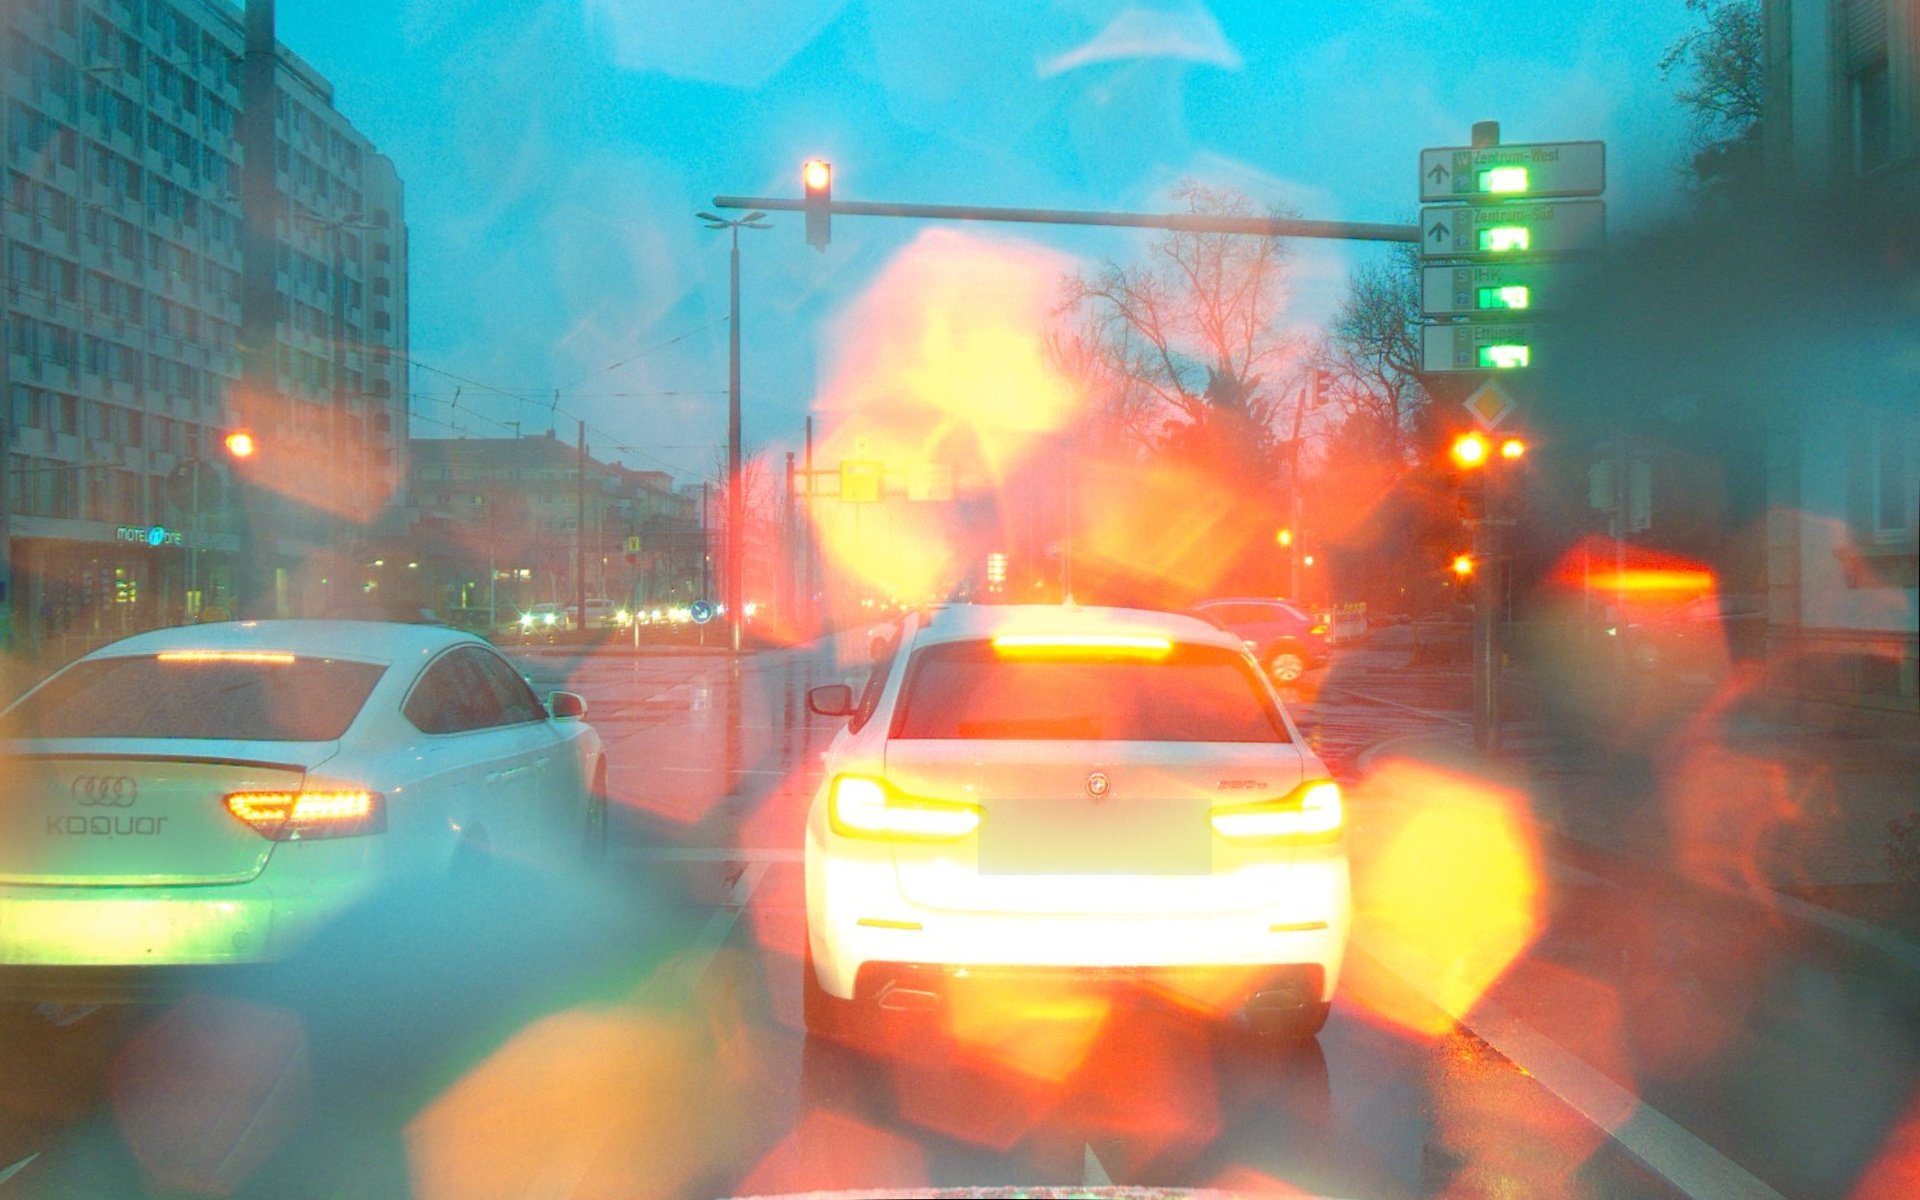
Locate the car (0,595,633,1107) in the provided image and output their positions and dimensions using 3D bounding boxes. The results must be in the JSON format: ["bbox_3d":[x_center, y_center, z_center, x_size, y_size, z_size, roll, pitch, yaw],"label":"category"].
[{"bbox_3d":[-2.707,0.727,7.007,1.954,1.481,4.366,0,0,-3],"label":"car"}]

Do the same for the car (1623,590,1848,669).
[{"bbox_3d":[15.252,0.564,32.728,3.906,1.426,1.757,1,-1,23],"label":"car"}]

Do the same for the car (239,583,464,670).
[{"bbox_3d":[-11.421,0.502,31.238,3.614,1.504,1.627,1,-1,-3],"label":"car"}]

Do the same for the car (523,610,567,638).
[{"bbox_3d":[-24.141,1.382,96.322,1.641,1.534,3.695,1,-1,-1],"label":"car"}]

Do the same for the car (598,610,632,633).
[{"bbox_3d":[-24.347,1.530,116.766,1.641,1.534,3.695,1,-1,-1],"label":"car"}]

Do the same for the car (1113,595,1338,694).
[{"bbox_3d":[4.826,0.797,30.126,3.902,1.651,1.721,1,-1,10],"label":"car"}]

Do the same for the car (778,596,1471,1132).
[{"bbox_3d":[0.375,0.736,6.836,1.954,1.481,4.366,0,0,-3],"label":"car"}]

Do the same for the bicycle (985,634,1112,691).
[{"bbox_3d":[1.887,1.309,35.028,2.610,1.108,0.815,1,-1,8],"label":"bicycle"}]

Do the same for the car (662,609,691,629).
[{"bbox_3d":[-22.231,1.485,129.637,1.641,1.534,3.695,1,-1,-1],"label":"car"}]

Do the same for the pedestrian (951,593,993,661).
[{"bbox_3d":[0.341,0.754,46.481,0.884,1.888,0.812,1,-1,23],"label":"pedestrian"}]

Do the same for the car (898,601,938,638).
[{"bbox_3d":[-2.029,0.936,79.110,1.806,1.637,3.943,1,-1,-2],"label":"car"}]

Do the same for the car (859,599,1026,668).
[{"bbox_3d":[-0.464,0.818,40.780,3.893,1.581,1.741,1,-1,39],"label":"car"}]

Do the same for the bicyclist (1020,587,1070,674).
[{"bbox_3d":[1.798,0.645,35.051,0.951,1.789,0.814,1,-1,8],"label":"bicyclist"}]
